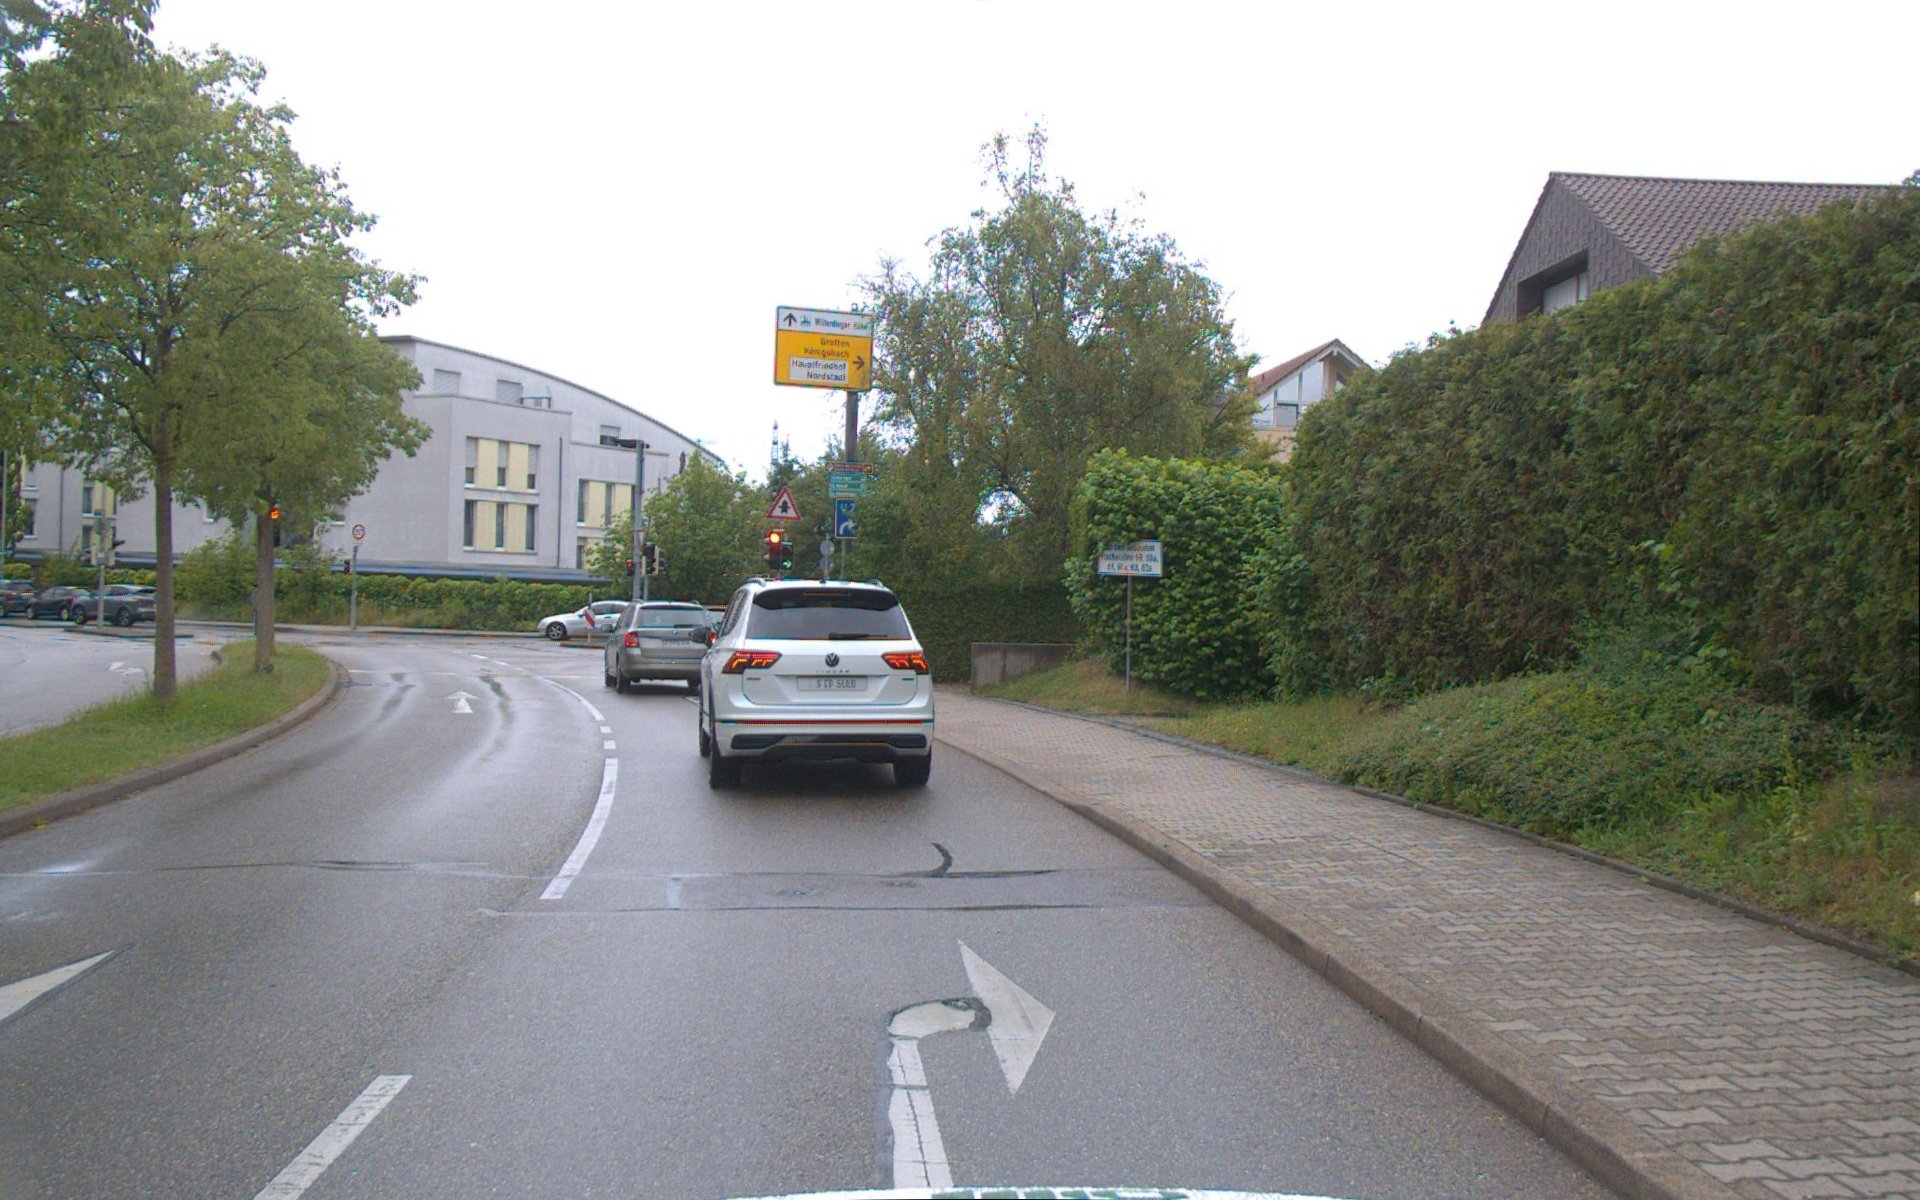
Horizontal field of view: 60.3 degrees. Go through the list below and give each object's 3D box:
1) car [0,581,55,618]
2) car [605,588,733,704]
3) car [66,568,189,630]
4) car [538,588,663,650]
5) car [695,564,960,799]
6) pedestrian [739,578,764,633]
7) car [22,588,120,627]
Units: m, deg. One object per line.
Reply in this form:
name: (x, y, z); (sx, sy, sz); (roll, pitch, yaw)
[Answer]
car: (-42.966, -0.036, 74.587); (3.912, 1.583, 1.997); (2, 0, 29)
car: (-4.921, 0.707, 27.545); (1.736, 1.535, 3.986); (4, 2, -14)
car: (-32.281, -0.047, 64.128); (3.905, 2.048, 1.982); (5, 2, 18)
car: (-12.578, 0.650, 58.029); (3.908, 1.788, 1.999); (4, 2, -3)
car: (-1.320, 0.619, 14.594); (1.886, 1.752, 4.254); (1, 0, -11)
pedestrian: (-7.920, 0.202, 62.695); (0.786, 2.048, 0.846); (0, 3, -18)
car: (-39.023, 0.301, 72.615); (3.912, 1.582, 1.997); (2, 1, 29)
